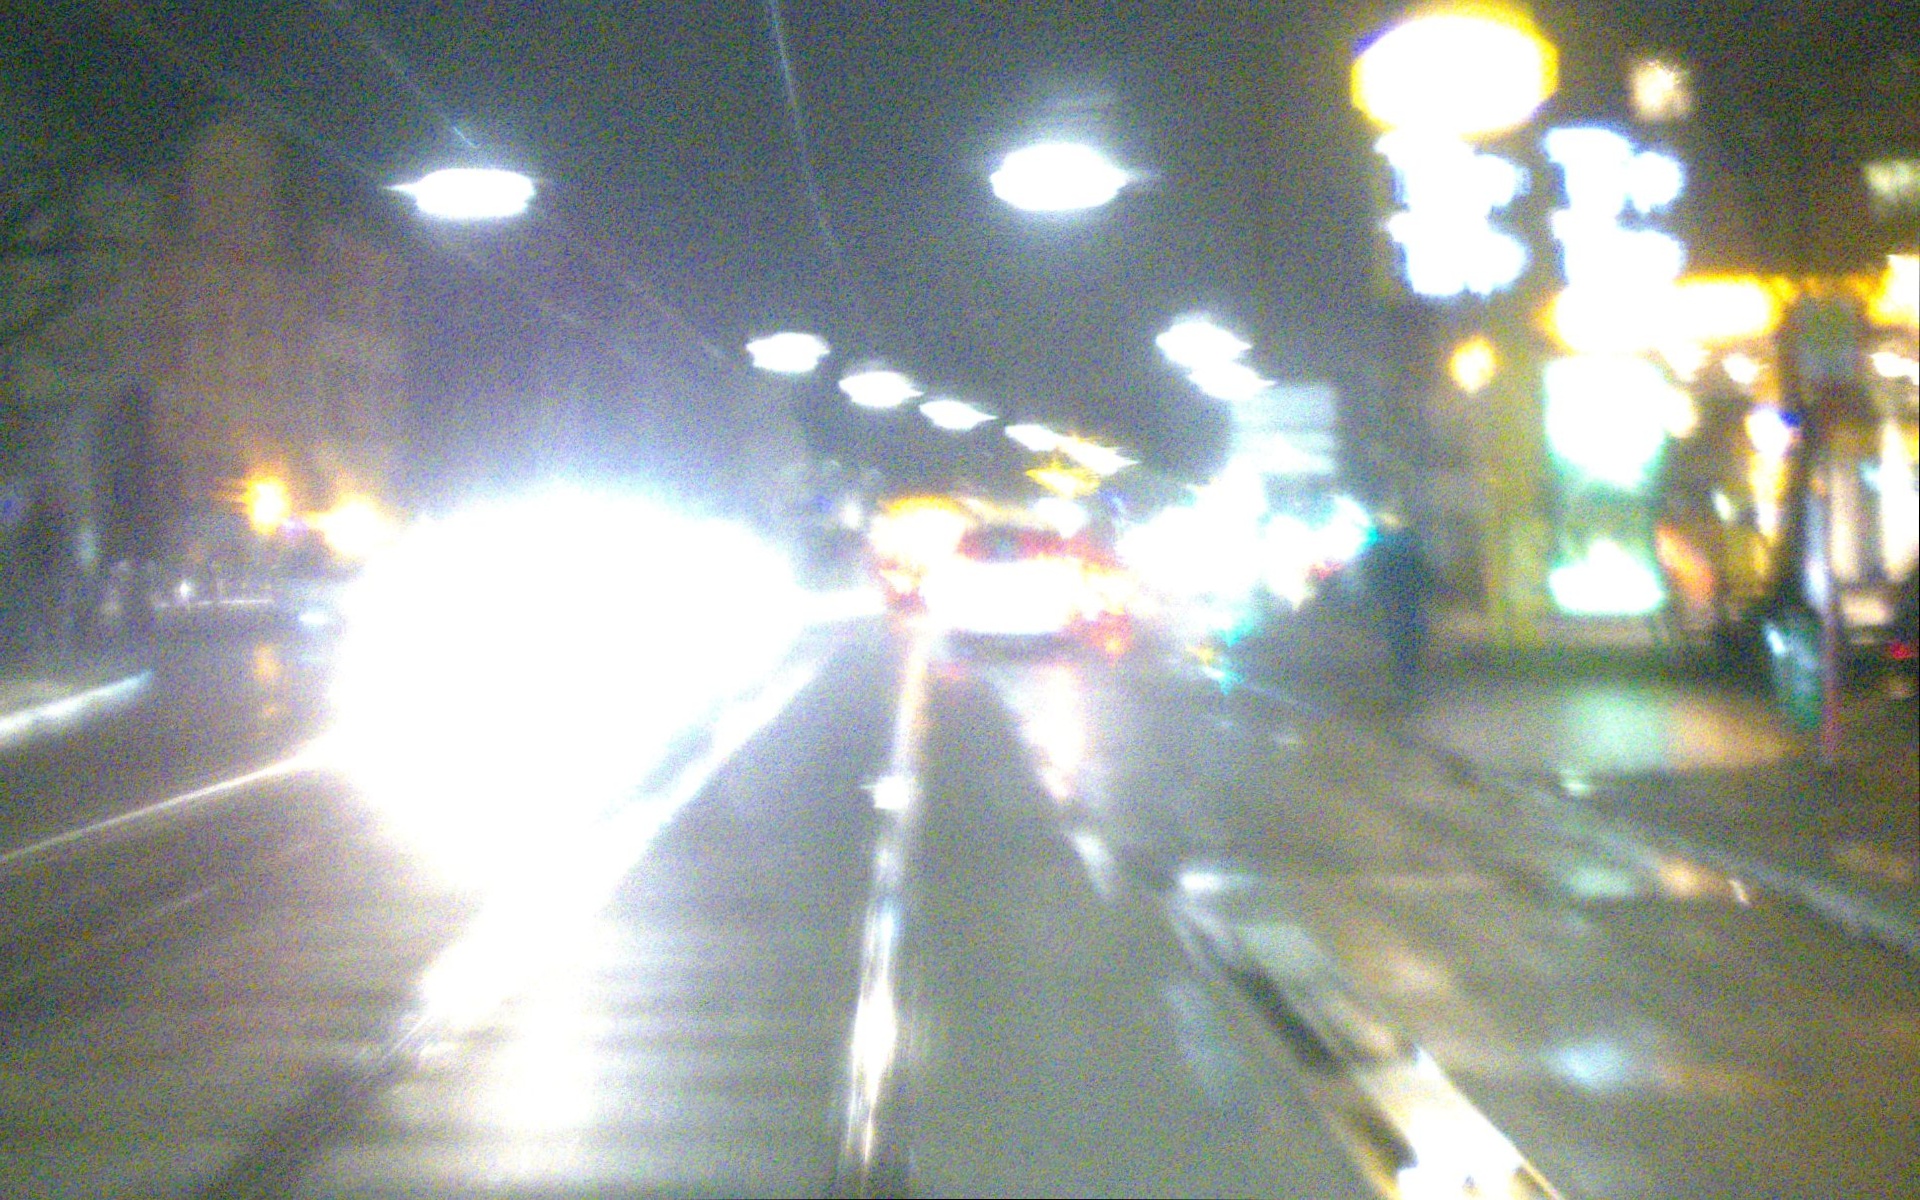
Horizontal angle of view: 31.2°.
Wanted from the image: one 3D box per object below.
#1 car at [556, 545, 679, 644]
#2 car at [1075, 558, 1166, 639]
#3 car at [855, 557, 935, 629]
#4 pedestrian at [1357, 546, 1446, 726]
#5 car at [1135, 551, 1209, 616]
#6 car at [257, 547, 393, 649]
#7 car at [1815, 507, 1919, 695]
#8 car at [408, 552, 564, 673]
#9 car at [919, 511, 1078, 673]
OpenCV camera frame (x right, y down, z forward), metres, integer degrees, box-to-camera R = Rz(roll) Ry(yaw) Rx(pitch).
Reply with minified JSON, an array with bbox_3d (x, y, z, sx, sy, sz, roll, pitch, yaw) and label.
[{"bbox_3d":[-6.890,-0.131,69.614,2.319,1.925,4.964,0,0,-4],"label":"car"},{"bbox_3d":[3.673,-0.044,79.105,2.016,1.809,4.000,0,0,2],"label":"car"},{"bbox_3d":[-1.677,-0.187,88.330,1.993,1.809,4.000,0,0,-1],"label":"car"},{"bbox_3d":[4.409,0.353,34.321,0.778,1.770,0.693,0,0,17],"label":"pedestrian"},{"bbox_3d":[6.634,-0.524,107.816,1.993,2.007,4.000,0,0,-1],"label":"car"},{"bbox_3d":[-12.789,-0.057,69.455,1.993,2.007,4.000,0,0,0],"label":"car"},{"bbox_3d":[9.848,-0.011,32.620,2.028,1.694,4.114,0,0,35],"label":"car"},{"bbox_3d":[-6.975,0.157,50.919,1.993,1.718,4.077,0,0,-4],"label":"car"},{"bbox_3d":[0.541,-0.139,52.398,2.244,2.353,4.394,0,0,-2],"label":"car"}]
